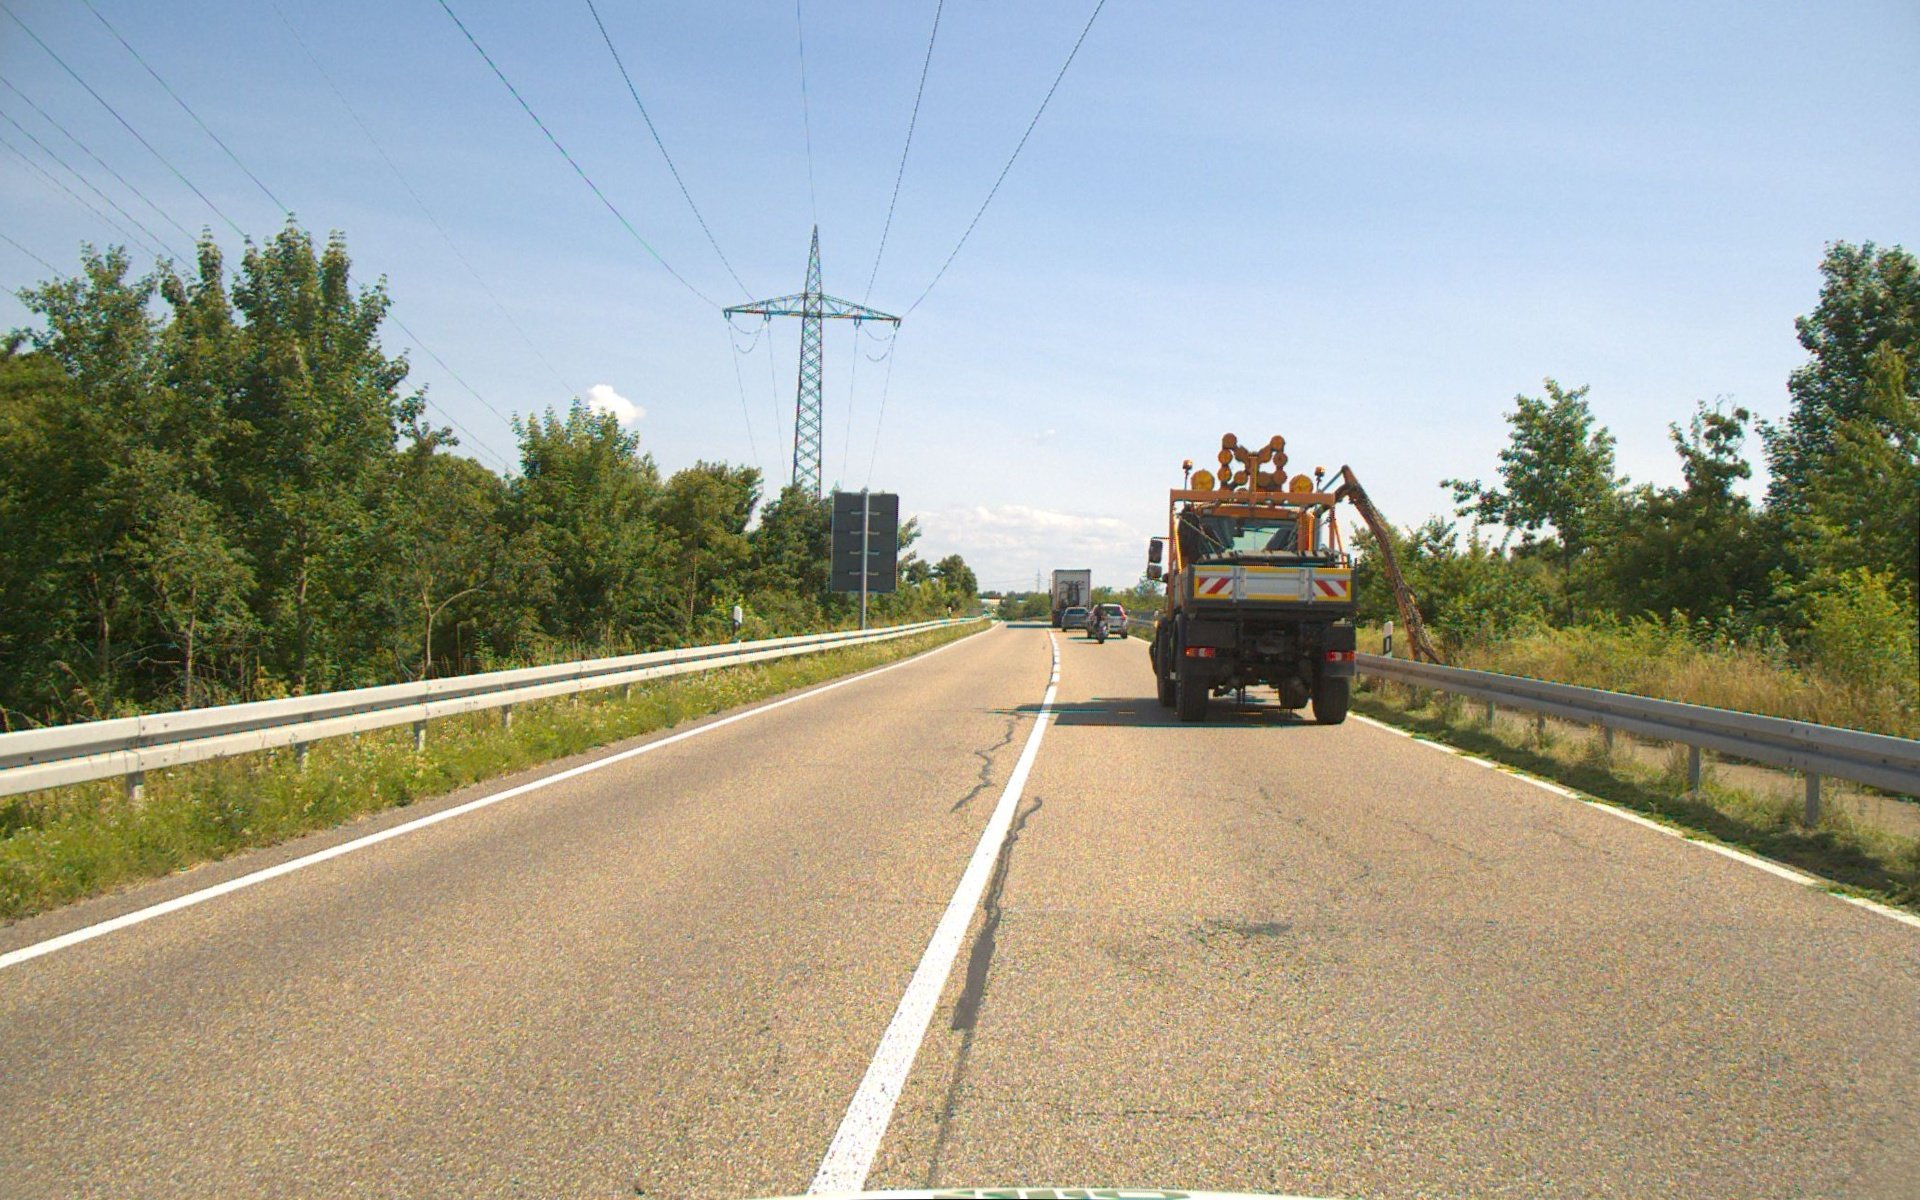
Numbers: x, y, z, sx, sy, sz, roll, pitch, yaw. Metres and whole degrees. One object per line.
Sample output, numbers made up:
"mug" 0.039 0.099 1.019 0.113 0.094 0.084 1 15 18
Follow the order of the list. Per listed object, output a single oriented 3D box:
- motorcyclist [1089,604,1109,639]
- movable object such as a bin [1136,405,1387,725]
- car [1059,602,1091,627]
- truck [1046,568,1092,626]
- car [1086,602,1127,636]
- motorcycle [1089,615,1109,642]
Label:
"motorcyclist" 5.513 0.840 65.567 0.764 1.349 0.813 1 0 4
"movable object such as a bin" 4.200 -0.455 25.061 2.695 3.906 9.450 1 0 4
"car" 6.769 0.854 97.955 1.827 1.445 4.002 1 0 3
"truck" 8.025 -0.193 121.450 3.173 4.048 9.447 1 0 4
"car" 6.730 0.867 76.306 1.787 1.477 4.002 1 0 4
"motorcycle" 5.498 1.125 65.546 0.764 0.993 2.362 1 0 4
